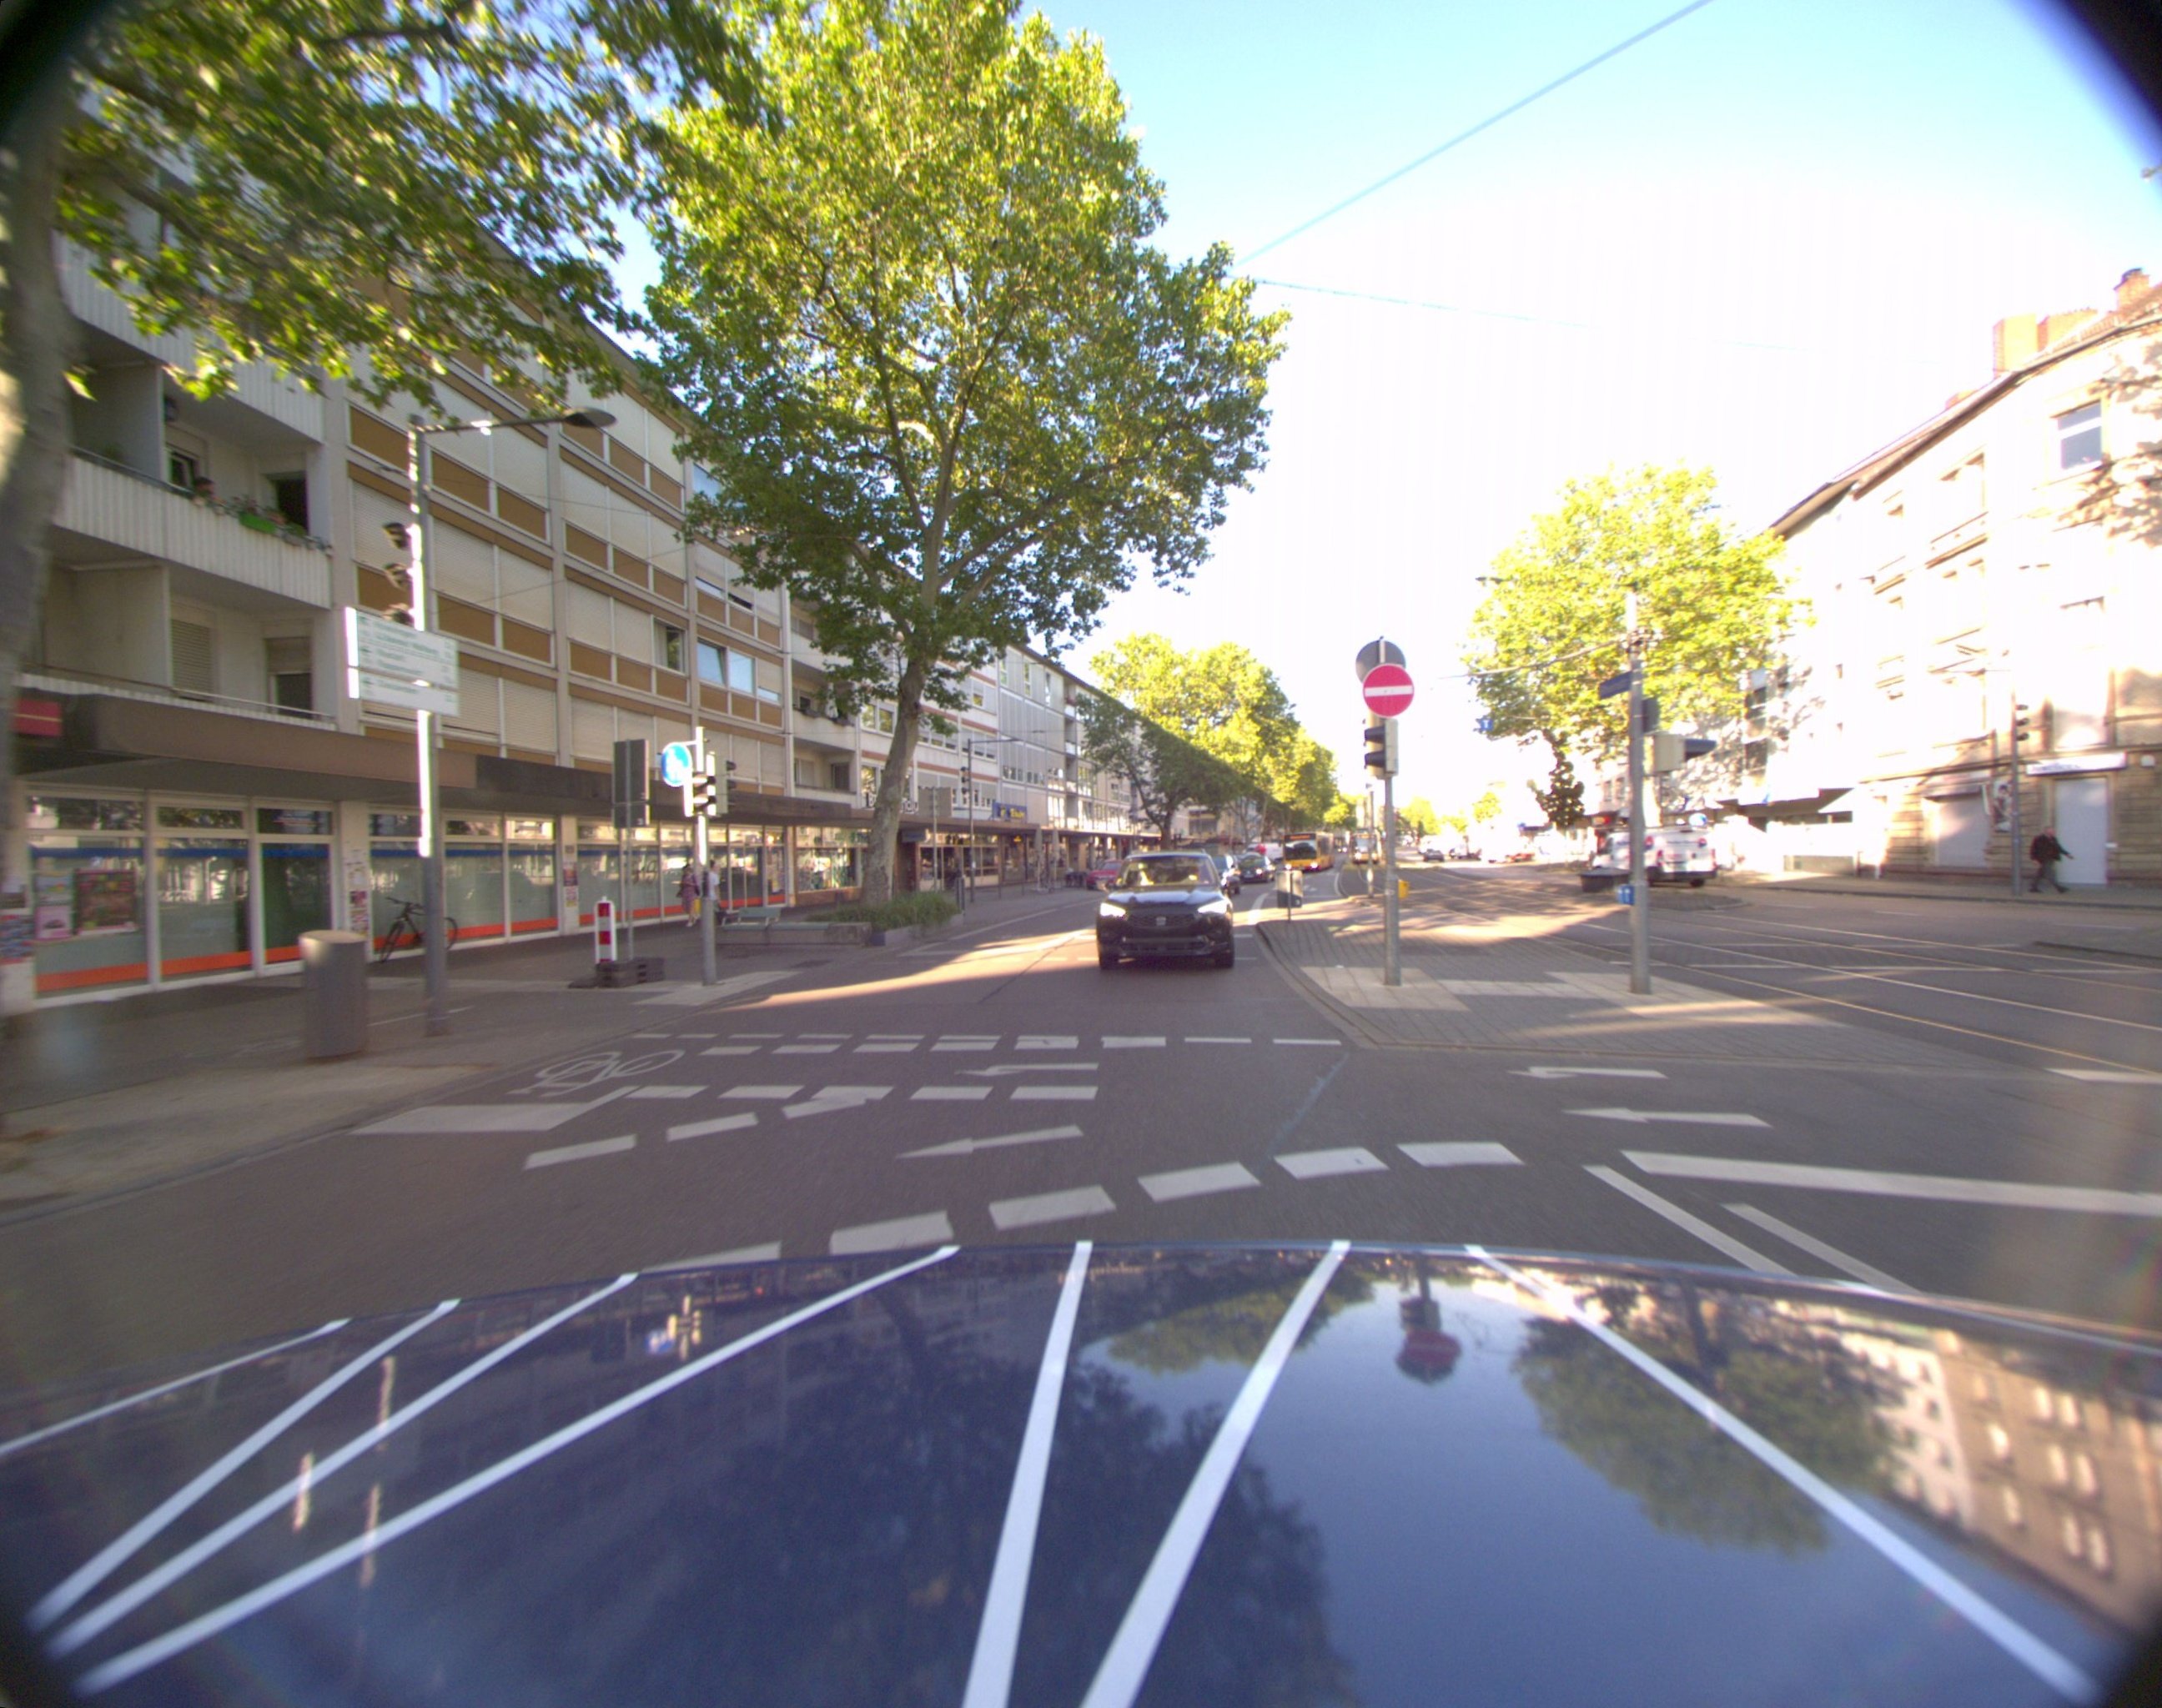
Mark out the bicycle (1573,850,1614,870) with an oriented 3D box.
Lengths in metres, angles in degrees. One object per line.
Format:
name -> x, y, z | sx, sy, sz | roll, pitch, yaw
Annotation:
bicycle -> 29.934, 0.346, 44.380 | 1.896, 1.117, 0.535 | -3, 0, 18

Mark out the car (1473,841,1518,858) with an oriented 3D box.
car -> 42.931, -0.454, 78.664 | 4.457, 1.481, 1.766 | -3, 0, -27

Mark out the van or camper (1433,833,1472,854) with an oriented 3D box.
van or camper -> 54.390, -1.535, 111.205 | 6.408, 2.651, 1.996 | -3, 0, -32

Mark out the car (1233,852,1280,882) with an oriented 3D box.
car -> 9.631, 0.671, 41.486 | 1.656, 1.477, 4.167 | -2, 0, 24

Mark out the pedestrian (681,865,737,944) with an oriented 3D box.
pedestrian -> -8.265, 1.101, 16.903 | 0.837, 1.702, 0.793 | 0, 0, 1

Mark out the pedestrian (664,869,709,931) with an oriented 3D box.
pedestrian -> -10.185, 1.161, 19.638 | 0.640, 1.543, 0.808 | 0, 1, 11

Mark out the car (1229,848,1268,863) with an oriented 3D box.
car -> 18.771, 0.162, 85.053 | 4.004, 1.555, 1.656 | -1, 2, -20

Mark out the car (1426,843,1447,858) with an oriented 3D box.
car -> 36.650, -0.373, 78.397 | 1.887, 1.464, 4.213 | -2, 0, 24

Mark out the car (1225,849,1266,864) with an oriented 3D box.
car -> 17.753, 0.261, 82.004 | 4.004, 1.514, 1.656 | -1, 2, -20

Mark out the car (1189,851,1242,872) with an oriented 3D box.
car -> 10.970, 0.618, 62.081 | 4.006, 1.597, 1.805 | -1, 1, -28

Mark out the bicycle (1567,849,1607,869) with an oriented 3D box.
bicycle -> 30.329, 0.324, 45.573 | 1.896, 1.117, 0.535 | -3, 0, 18

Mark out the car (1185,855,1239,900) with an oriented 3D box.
car -> 5.180, 0.853, 29.671 | 1.657, 1.571, 4.004 | -2, 0, 15

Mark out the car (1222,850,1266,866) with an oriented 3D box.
car -> 16.186, 0.409, 75.565 | 4.004, 1.428, 1.656 | -1, 2, -20

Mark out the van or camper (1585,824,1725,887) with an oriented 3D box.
van or camper -> 22.704, 0.066, 30.397 | 2.171, 2.305, 5.107 | 0, 0, 7

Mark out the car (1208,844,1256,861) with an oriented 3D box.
car -> 13.684, -0.129, 68.786 | 4.004, 1.428, 1.656 | -1, 2, -23

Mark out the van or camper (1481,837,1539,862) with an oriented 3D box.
van or camper -> 38.516, -0.394, 68.206 | 4.819, 1.886, 1.948 | -3, 0, -23

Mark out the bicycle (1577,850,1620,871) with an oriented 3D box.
bicycle -> 29.676, 0.363, 43.619 | 1.896, 1.117, 0.653 | -3, 0, 18

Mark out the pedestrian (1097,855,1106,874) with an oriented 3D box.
pedestrian -> 1.560, 0.789, 58.092 | 0.537, 1.393, 0.688 | 1, 2, 19

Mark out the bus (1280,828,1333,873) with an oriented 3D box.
bus -> 17.898, -0.412, 59.704 | 2.868, 2.961, 12.255 | -4, 1, 21

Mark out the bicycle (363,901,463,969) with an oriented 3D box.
bicycle -> -12.199, 1.455, 13.929 | 0.438, 1.086, 1.462 | 1, 1, 5

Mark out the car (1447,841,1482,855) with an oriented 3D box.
car -> 49.519, -0.771, 98.130 | 4.004, 1.576, 1.876 | -3, 0, -23

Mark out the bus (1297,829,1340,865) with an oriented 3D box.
bus -> 22.380, -0.775, 71.128 | 2.868, 2.961, 12.255 | -4, 1, 21

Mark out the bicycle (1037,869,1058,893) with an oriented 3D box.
bicycle -> -1.548, 1.242, 35.290 | 0.512, 1.064, 1.663 | 1, 1, 15

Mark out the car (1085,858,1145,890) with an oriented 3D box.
car -> 1.830, 0.989, 39.581 | 1.780, 1.488, 4.574 | 1, 1, 21

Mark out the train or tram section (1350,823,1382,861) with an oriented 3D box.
train or tram section -> 28.427, -1.148, 75.743 | 2.634, 3.430, 11.146 | -3, 0, 21

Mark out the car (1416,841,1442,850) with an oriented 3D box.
car -> 65.960, -1.611, 144.032 | 3.914, 1.481, 1.769 | -3, 0, -3

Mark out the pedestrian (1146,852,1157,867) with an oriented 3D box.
pedestrian -> 6.727, 0.511, 72.822 | 0.749, 1.354, 0.964 | -1, 1, 24

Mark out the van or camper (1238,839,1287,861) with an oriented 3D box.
van or camper -> 21.960, -0.449, 91.909 | 5.468, 2.455, 1.997 | -2, 1, -20

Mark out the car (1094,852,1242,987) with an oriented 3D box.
car -> 1.156, 0.822, 11.544 | 1.808, 1.638, 4.000 | -2, 1, 2

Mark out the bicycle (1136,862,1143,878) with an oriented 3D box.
bicycle -> 3.889, 1.061, 50.469 | 0.294, 1.034, 1.719 | 2, 1, 11

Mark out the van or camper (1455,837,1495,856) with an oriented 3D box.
van or camper -> 47.489, -0.920, 91.508 | 4.456, 1.978, 1.797 | -3, 0, -25

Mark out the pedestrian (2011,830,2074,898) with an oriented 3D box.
pedestrian -> 26.146, 0.259, 20.677 | 0.619, 1.777, 0.972 | -3, 0, 24

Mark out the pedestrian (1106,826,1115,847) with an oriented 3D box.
pedestrian -> 2.264, -1.350, 57.998 | 0.537, 1.582, 0.688 | 1, 2, 19
